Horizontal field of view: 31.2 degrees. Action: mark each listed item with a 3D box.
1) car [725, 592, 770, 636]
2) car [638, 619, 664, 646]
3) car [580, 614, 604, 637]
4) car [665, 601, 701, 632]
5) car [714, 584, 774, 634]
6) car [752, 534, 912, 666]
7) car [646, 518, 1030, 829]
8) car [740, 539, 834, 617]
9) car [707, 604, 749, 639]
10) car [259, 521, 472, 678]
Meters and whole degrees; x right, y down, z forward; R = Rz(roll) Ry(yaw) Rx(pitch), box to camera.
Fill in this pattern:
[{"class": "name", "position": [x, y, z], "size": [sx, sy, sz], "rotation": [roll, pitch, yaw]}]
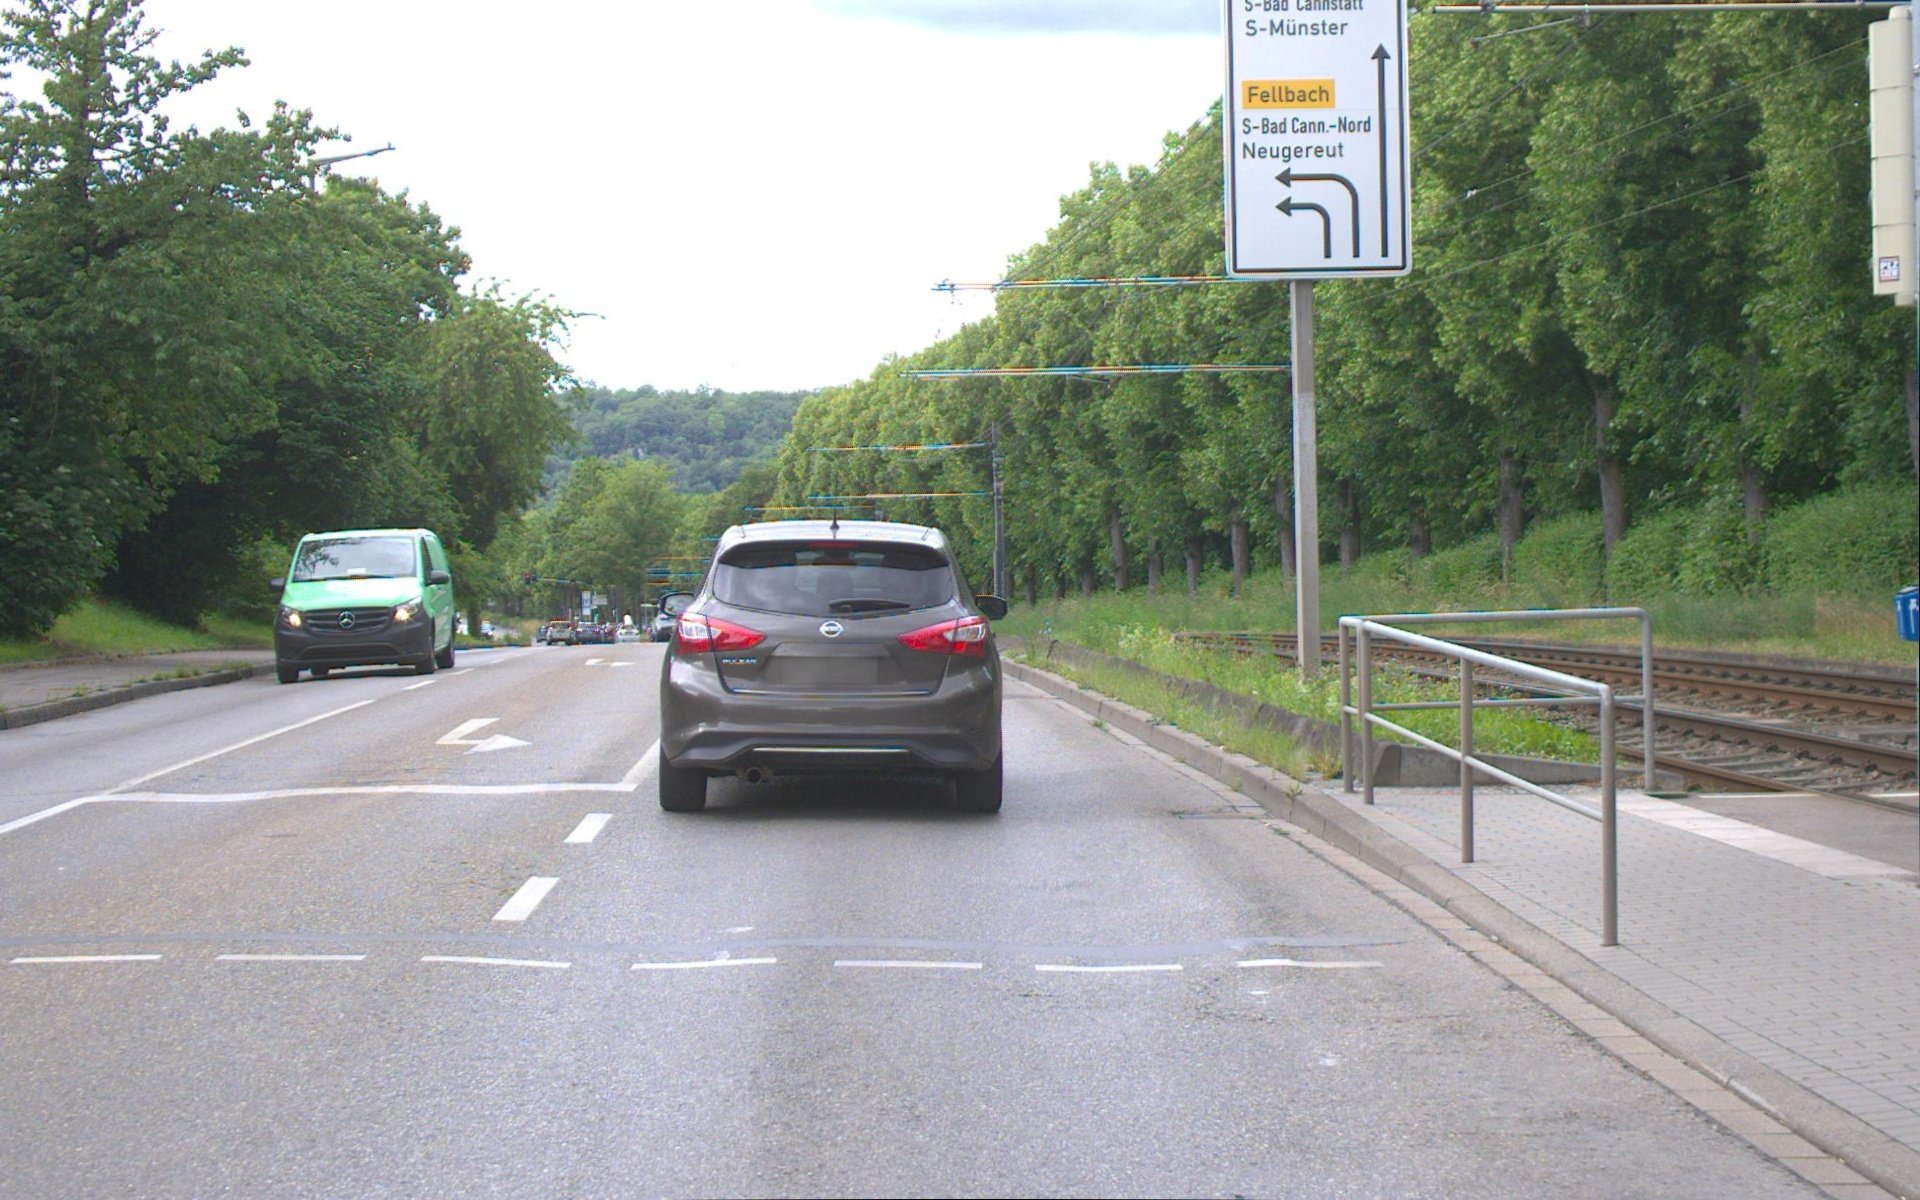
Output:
[{"class": "car", "position": [-8.485, 0.570, 137.144], "size": [1.699, 1.708, 4.000], "rotation": [0, -1, -5]}, {"class": "car", "position": [-20.122, 2.116, 223.785], "size": [1.699, 1.708, 4.000], "rotation": [0, -1, -5]}, {"class": "car", "position": [-27.660, 1.944, 258.605], "size": [1.699, 1.708, 4.000], "rotation": [0, -1, -5]}, {"class": "car", "position": [-14.072, 0.864, 174.452], "size": [1.794, 1.505, 4.000], "rotation": [0, -1, -5]}, {"class": "car", "position": [-6.570, 0.280, 104.196], "size": [1.699, 1.439, 4.000], "rotation": [0, -1, -5]}, {"class": "car", "position": [-1.529, 0.041, 39.756], "size": [1.699, 1.439, 4.000], "rotation": [0, -1, -4]}, {"class": "car", "position": [-0.665, 0.322, 18.903], "size": [1.850, 1.488, 4.001], "rotation": [1, 1, -2]}, {"class": "car", "position": [-3.476, -0.412, 68.620], "size": [1.699, 1.439, 4.000], "rotation": [0, -1, -5]}, {"class": "car", "position": [-10.412, 0.969, 154.309], "size": [1.794, 1.505, 4.000], "rotation": [0, -1, -5]}, {"class": "car", "position": [-7.478, -0.038, 43.678], "size": [2.058, 1.804, 4.730], "rotation": [-2, 1, -3]}]
